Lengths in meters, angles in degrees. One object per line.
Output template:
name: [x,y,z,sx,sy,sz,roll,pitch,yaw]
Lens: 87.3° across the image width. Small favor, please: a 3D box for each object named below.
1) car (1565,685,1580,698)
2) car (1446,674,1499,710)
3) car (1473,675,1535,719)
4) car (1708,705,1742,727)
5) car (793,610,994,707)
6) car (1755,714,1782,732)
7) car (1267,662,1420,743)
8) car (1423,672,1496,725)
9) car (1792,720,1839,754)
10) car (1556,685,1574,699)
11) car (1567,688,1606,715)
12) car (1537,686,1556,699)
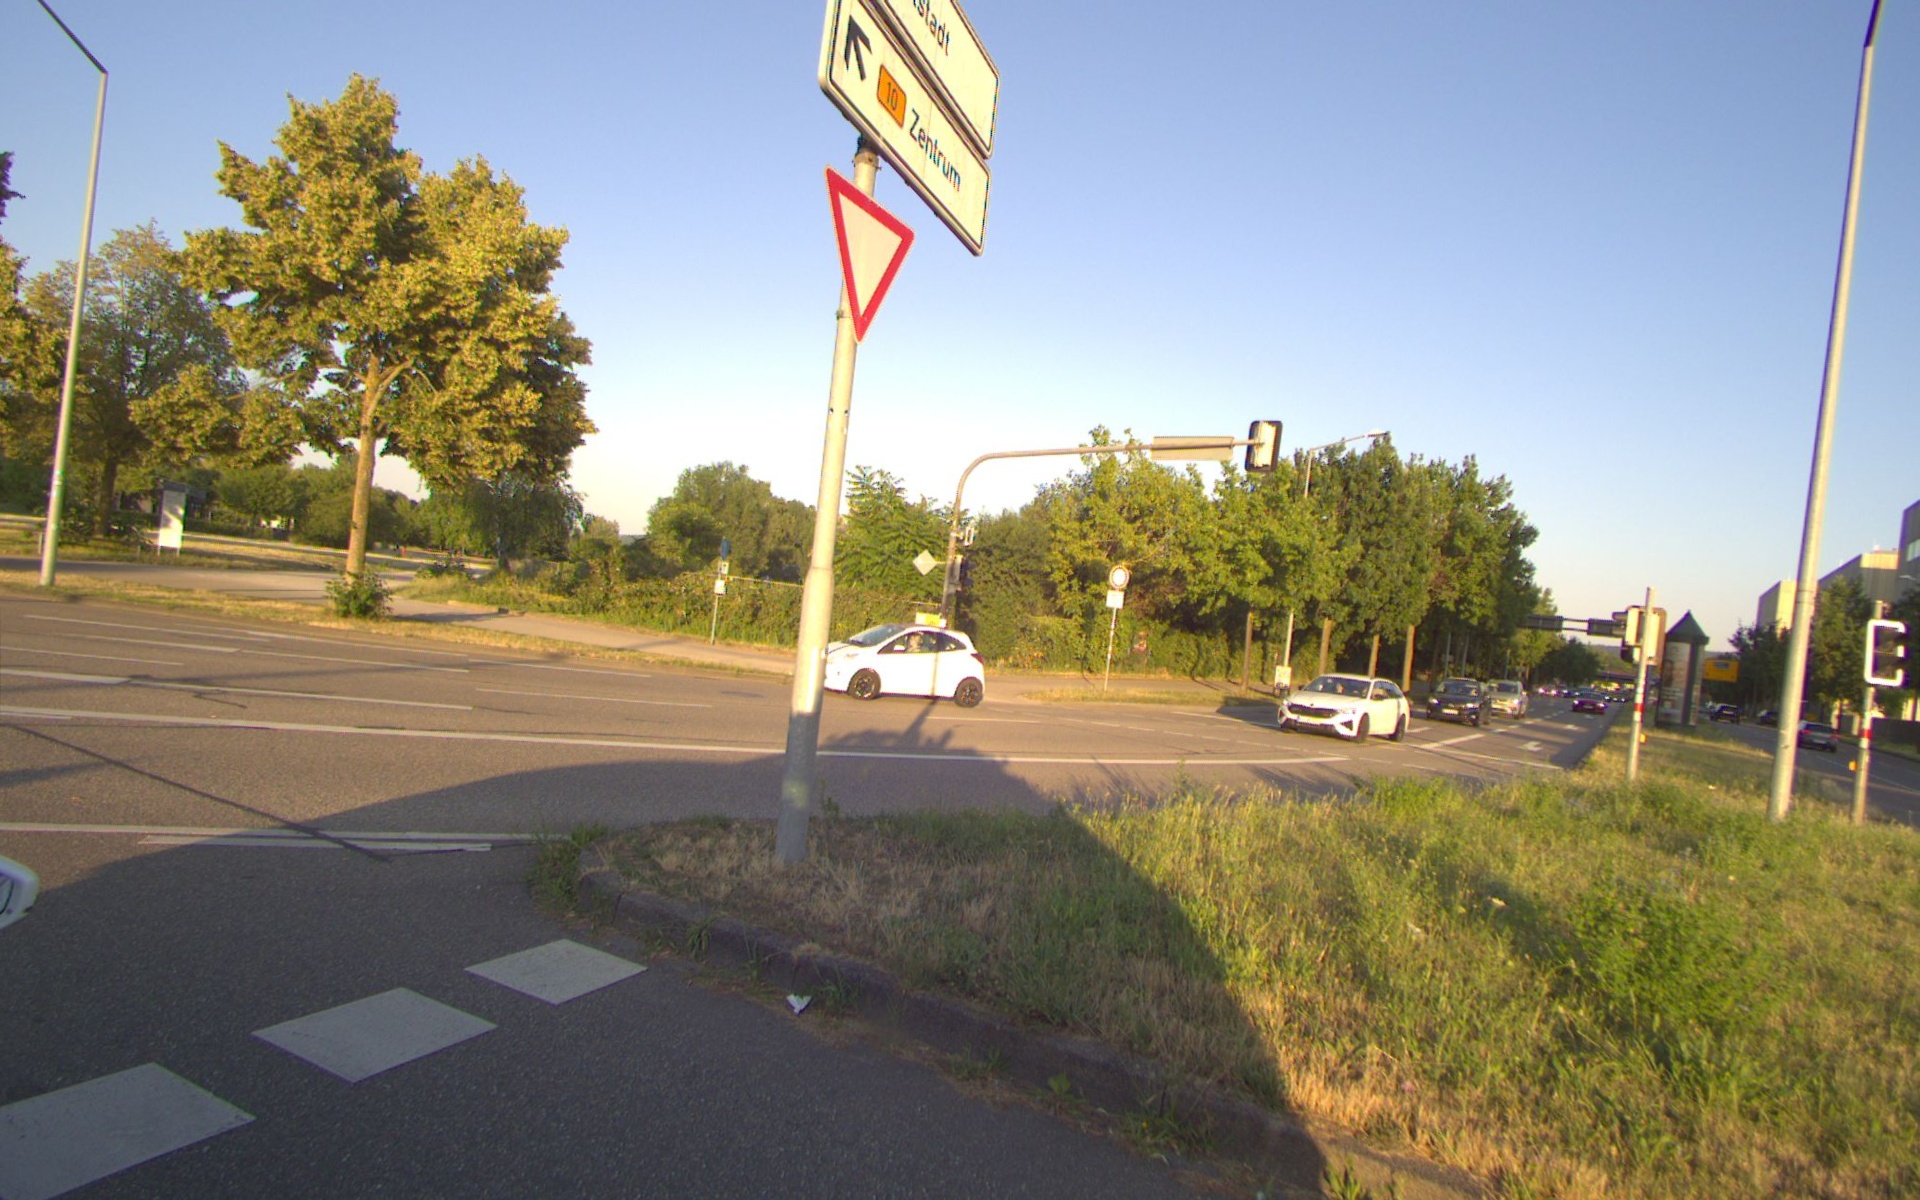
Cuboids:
car: [86.532,12.905,142.111,1.593,1.536,3.707,6,-2,34]
car: [29.523,5.309,57.856,1.884,1.730,4.928,7,-1,35]
car: [25.953,4.658,47.921,1.893,1.775,4.908,6,-2,35]
car: [66.365,10.044,87.301,1.788,1.544,4.126,7,0,31]
car: [-1.267,1.145,19.427,3.451,1.460,1.542,8,-1,-32]
car: [80.434,12.209,100.078,1.724,1.507,4.122,7,0,36]
car: [8.816,2.340,22.895,1.703,1.466,4.529,6,-1,41]
car: [18.570,3.659,37.296,1.774,1.652,4.446,6,-2,34]
car: [46.144,7.354,54.234,1.727,1.441,4.115,8,0,41]
car: [76.404,11.598,126.974,1.593,1.536,3.707,6,-2,34]
car: [42.022,6.840,67.386,1.817,1.478,4.569,7,-1,36]
car: [66.988,10.572,114.913,1.593,1.324,3.707,5,-2,34]
